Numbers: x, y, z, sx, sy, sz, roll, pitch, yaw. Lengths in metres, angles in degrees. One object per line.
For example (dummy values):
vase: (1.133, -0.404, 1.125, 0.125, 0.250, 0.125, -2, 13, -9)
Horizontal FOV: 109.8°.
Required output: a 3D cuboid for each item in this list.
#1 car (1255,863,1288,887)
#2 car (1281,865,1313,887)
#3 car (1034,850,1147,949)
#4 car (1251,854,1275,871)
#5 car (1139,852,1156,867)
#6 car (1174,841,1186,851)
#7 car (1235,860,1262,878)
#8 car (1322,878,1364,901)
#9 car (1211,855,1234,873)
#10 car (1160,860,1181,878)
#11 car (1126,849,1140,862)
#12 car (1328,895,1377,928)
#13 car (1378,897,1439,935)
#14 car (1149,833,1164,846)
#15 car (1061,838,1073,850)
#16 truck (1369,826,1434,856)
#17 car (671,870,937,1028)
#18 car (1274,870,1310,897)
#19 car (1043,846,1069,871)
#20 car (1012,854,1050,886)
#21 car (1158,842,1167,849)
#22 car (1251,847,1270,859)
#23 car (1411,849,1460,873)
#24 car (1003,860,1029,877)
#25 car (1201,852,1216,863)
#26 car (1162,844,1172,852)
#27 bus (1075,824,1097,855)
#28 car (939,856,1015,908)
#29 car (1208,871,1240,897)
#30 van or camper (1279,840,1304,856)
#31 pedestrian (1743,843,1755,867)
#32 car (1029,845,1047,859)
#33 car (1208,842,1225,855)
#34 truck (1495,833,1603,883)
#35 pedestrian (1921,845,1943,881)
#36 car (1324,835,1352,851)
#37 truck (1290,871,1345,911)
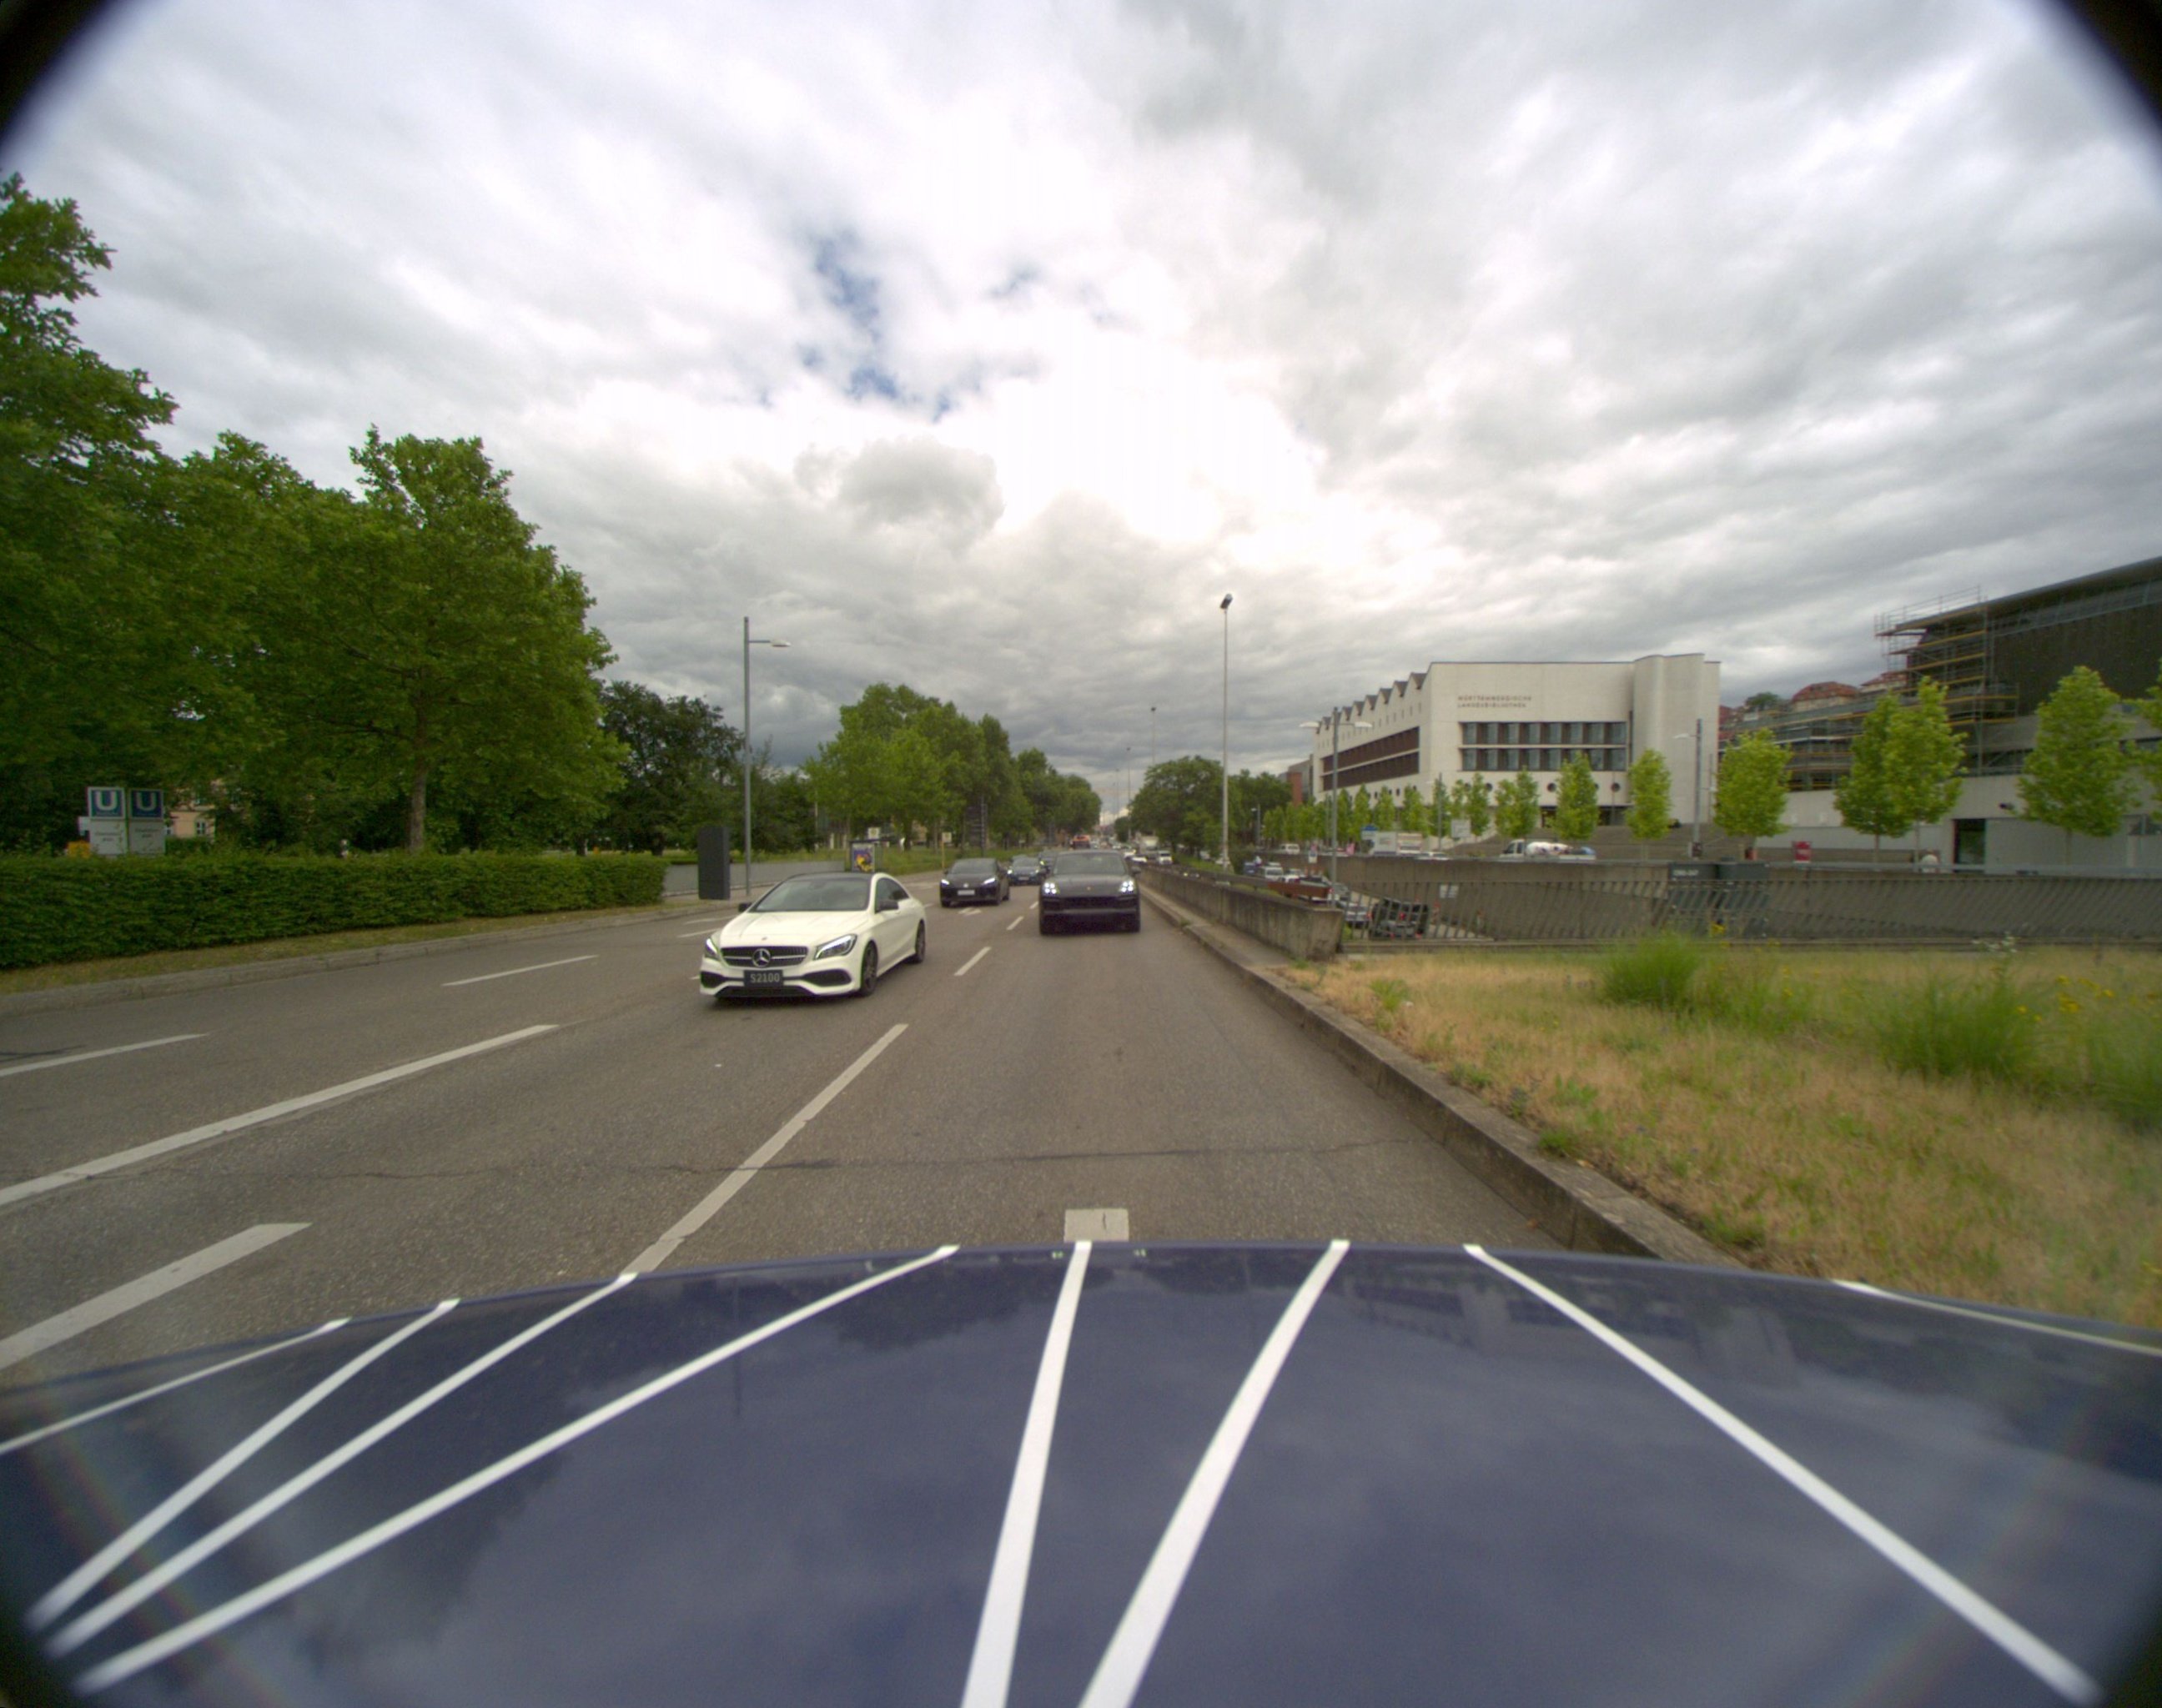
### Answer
car: (18.010, 1.961, 71.973, 1.998, 2.002, 4.332, 2, 0, 1)
car: (21.634, 2.138, 76.203, 1.998, 2.002, 4.000, 2, 0, 1)
car: (0.206, 0.779, 15.587, 1.937, 1.668, 4.679, -1, 1, 1)
car: (22.396, 0.998, 93.568, 1.998, 2.002, 4.000, 2, 0, 1)
car: (8.773, 0.731, 100.747, 1.998, 2.002, 4.000, 0, 0, 1)
car: (21.189, -1.641, 162.269, 1.998, 2.002, 3.999, -2, 1, 0)
car: (17.984, 1.629, 81.813, 1.998, 1.733, 4.281, 2, 0, 1)
car: (21.160, 2.871, 61.559, 1.998, 1.543, 3.999, -2, 1, 1)
car: (18.406, 1.299, 98.978, 1.998, 2.119, 4.852, 2, 0, 1)
car: (10.857, 1.794, 92.332, 1.998, 2.002, 4.000, -1, 0, 1)
car: (8.174, 0.195, 120.435, 1.998, 2.002, 4.000, 0, 0, 1)
car: (17.644, 3.707, 49.601, 1.794, 1.805, 3.927, -1, 0, 0)
car: (20.638, 3.883, 48.058, 1.998, 1.944, 4.229, -2, 1, 1)
car: (11.816, -2.281, 118.233, 1.997, 2.002, 4.002, -2, 1, 9)
car: (-2.471, -1.757, 135.648, 1.998, 2.002, 3.999, -2, 1, 0)
truck: (31.847, -1.243, 75.889, 3.239, 2.771, 7.252, -1, 0, -1)
car: (-3.241, 1.016, 9.966, 1.723, 1.415, 4.505, -1, 1, 1)
car: (17.913, 2.473, 64.666, 1.998, 2.002, 4.000, 2, 0, 1)
car: (-1.879, 0.320, 58.839, 1.723, 1.851, 4.430, -1, 1, 1)
car: (-2.568, 0.804, 39.991, 1.573, 1.528, 4.001, -1, 1, 2)
car: (18.847, -1.964, 175.681, 1.675, 1.477, 3.361, -1, 0, 1)
car: (28.274, -0.185, 119.887, 1.998, 1.805, 4.000, -1, 0, 1)
car: (28.617, 0.545, 61.531, 1.998, 1.805, 4.258, -1, 0, 1)
car: (-5.910, 1.278, 69.215, 1.867, 1.412, 4.000, -2, 1, 1)
car: (18.577, 0.474, 111.044, 1.675, 1.477, 3.361, 0, 1, 1)
car: (17.149, -1.143, 152.009, 1.675, 1.477, 3.361, -1, 0, 1)
bus: (0.650, -2.126, 110.659, 3.043, 4.328, 8.748, -1, 1, 0)
car: (-3.332, 0.865, 25.034, 1.829, 1.515, 4.119, -1, 0, 1)
car: (11.863, 2.503, 63.452, 1.998, 2.002, 4.000, 0, 0, 1)
van or camper: (27.529, -0.723, 99.562, 1.998, 2.002, 4.557, -1, 0, 1)
pedestrian: (43.580, 0.055, 49.565, 0.381, 1.513, 0.461, -2, 1, -6)
car: (-4.940, -0.236, 87.989, 1.723, 1.528, 4.001, -1, 1, 1)
car: (21.898, -0.842, 122.697, 1.998, 2.002, 4.655, -1, 0, 1)
truck: (28.492, 0.238, 46.693, 2.469, 2.800, 7.079, -1, 0, 2)
pedestrian: (35.782, 0.372, 31.950, 0.428, 1.513, 0.461, -2, 1, -6)
car: (28.246, -1.183, 83.514, 1.723, 1.565, 4.271, -1, 0, 2)
truck: (17.657, 2.718, 57.104, 2.324, 2.675, 5.979, -1, 0, 1)
